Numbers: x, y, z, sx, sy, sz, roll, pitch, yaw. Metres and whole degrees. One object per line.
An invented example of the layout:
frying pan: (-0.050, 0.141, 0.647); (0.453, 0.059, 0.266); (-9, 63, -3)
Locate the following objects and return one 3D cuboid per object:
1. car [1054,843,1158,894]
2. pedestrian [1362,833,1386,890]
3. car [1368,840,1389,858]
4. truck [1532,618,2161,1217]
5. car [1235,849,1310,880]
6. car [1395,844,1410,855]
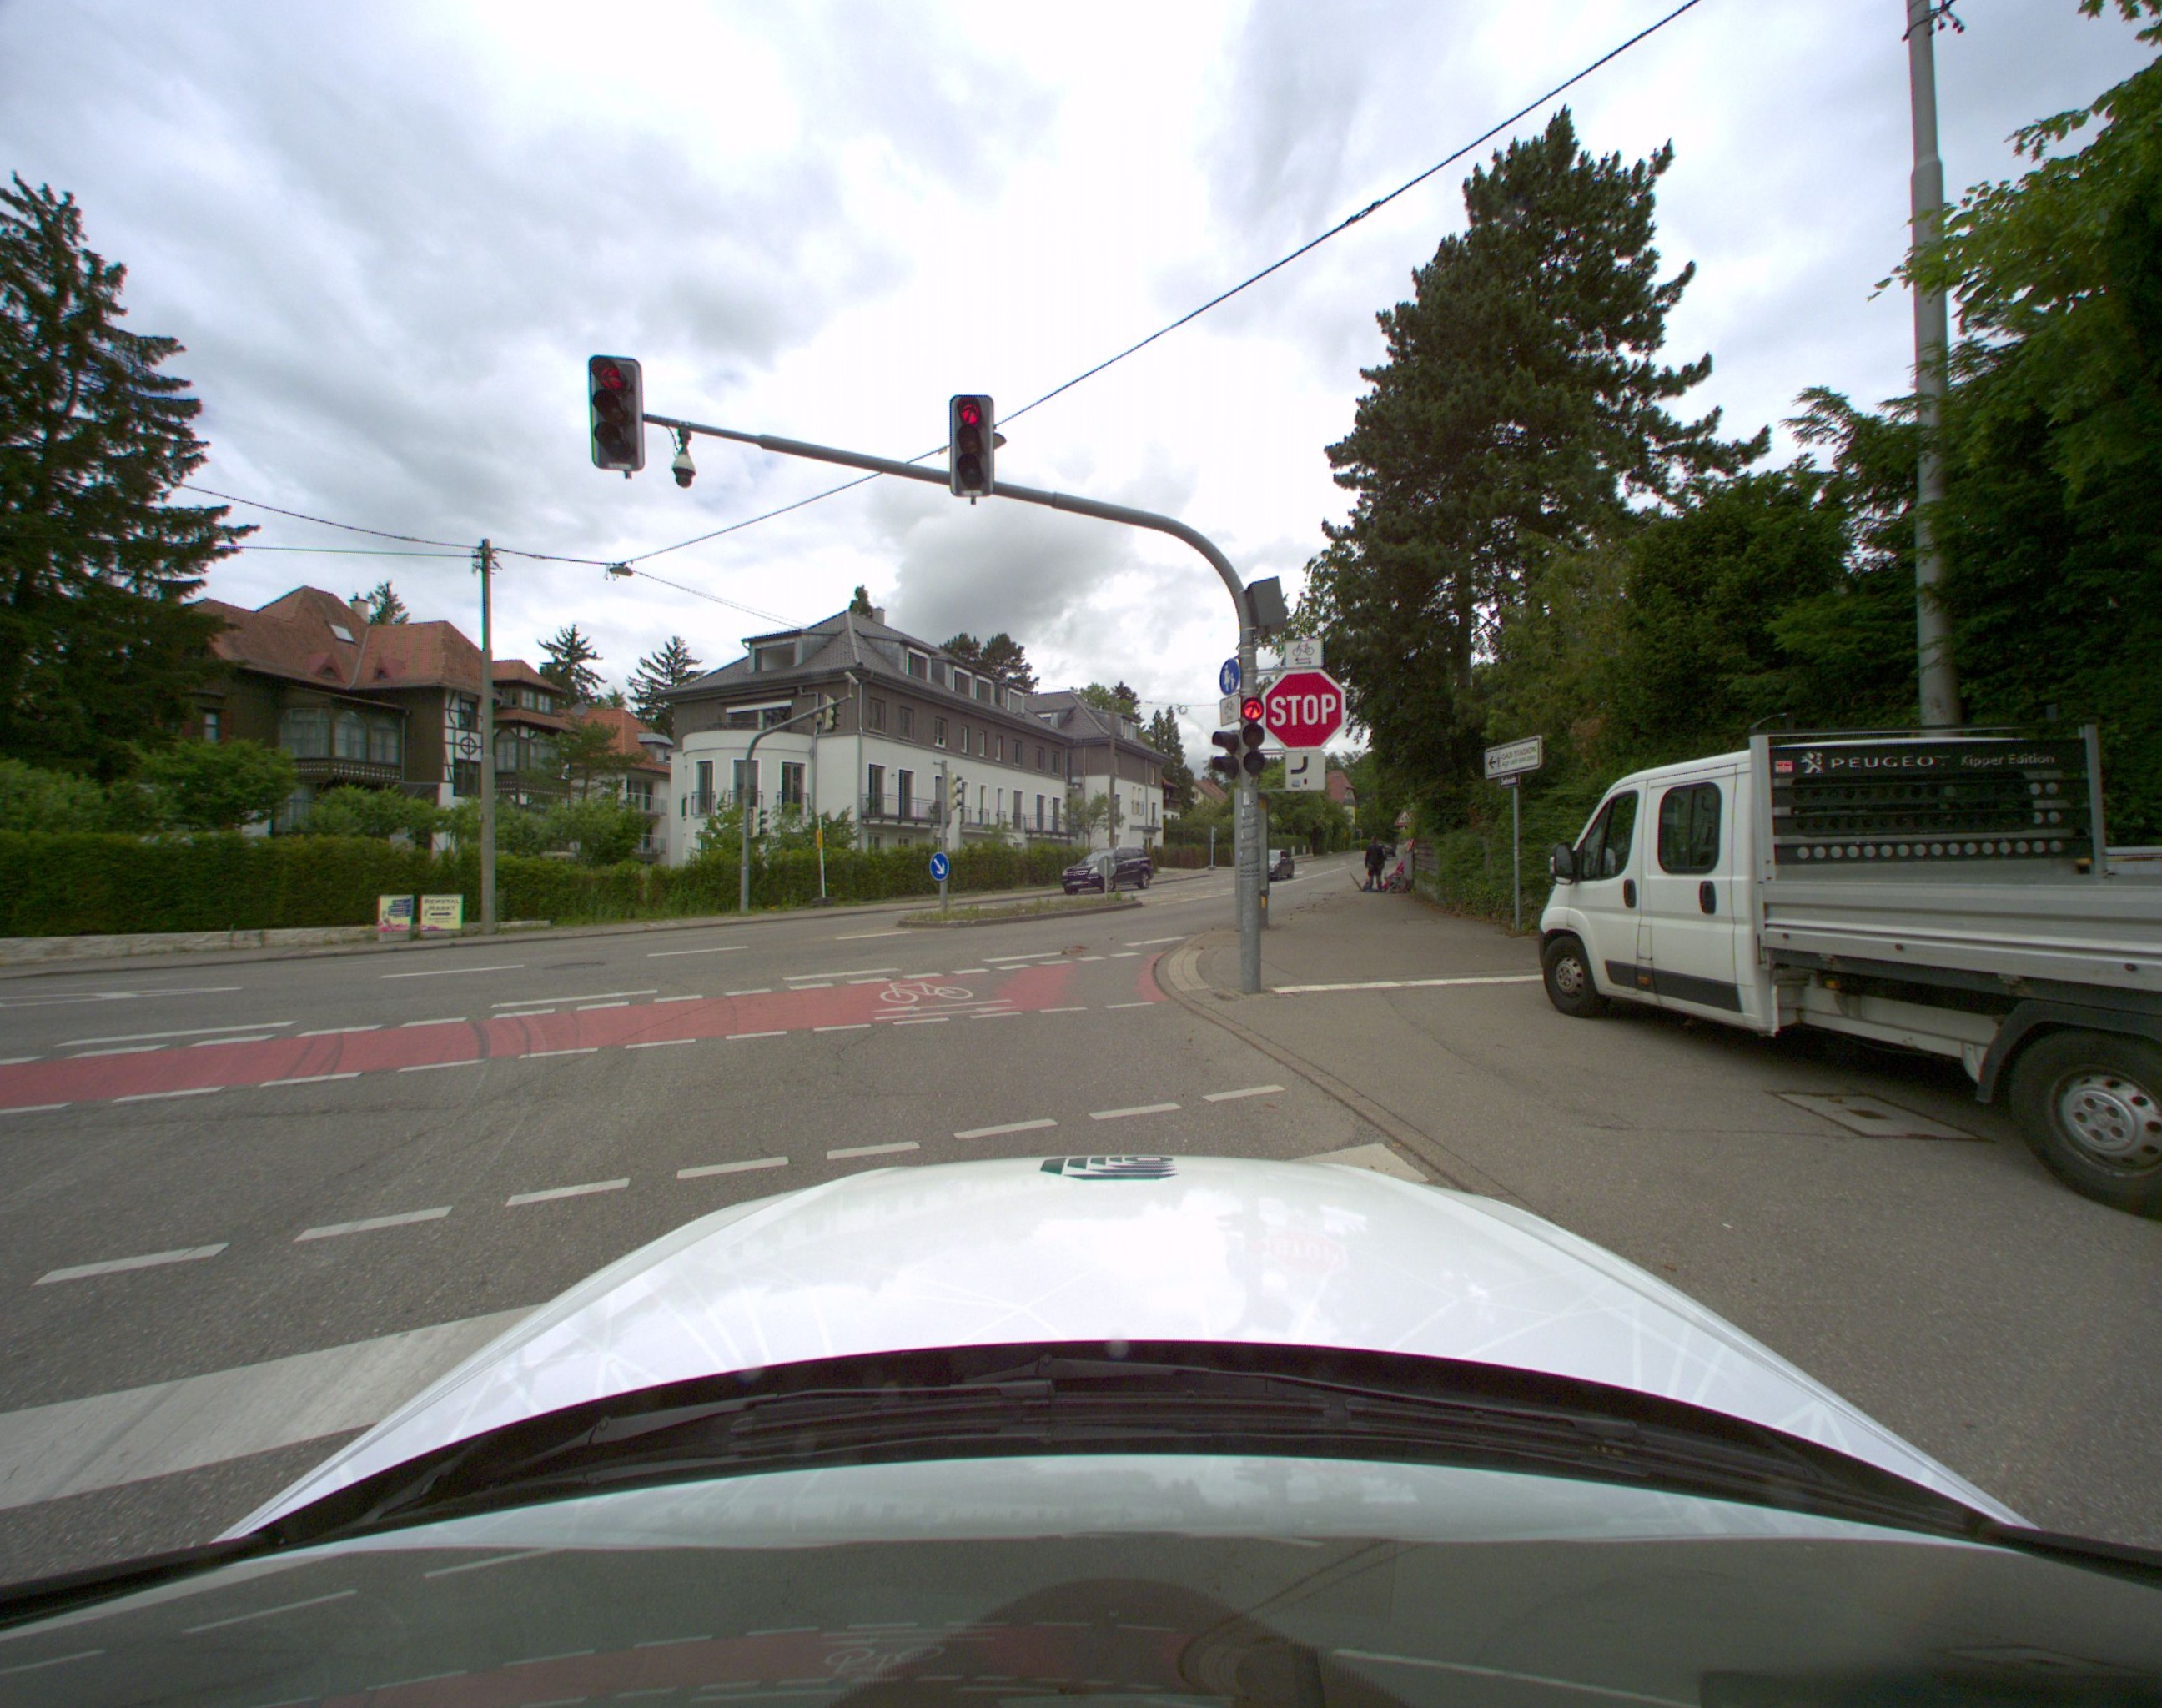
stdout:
car: (1.143, 0.544, 33.286); (1.894, 1.881, 5.174); (-3, -1, 31)
pedestrian: (9.842, 0.256, 27.378); (0.594, 1.907, 0.559); (0, -1, 2)
car: (30.633, -0.492, 83.854); (1.791, 1.753, 4.511); (-2, 0, 22)
truck: (5.275, 0.237, 4.951); (2.198, 2.243, 5.729); (0, 0, 4)
car: (9.573, 0.482, 40.455); (1.920, 1.403, 4.773); (-1, 0, 36)
car: (45.301, -0.628, 114.831); (1.678, 1.430, 3.770); (-2, 0, 26)
